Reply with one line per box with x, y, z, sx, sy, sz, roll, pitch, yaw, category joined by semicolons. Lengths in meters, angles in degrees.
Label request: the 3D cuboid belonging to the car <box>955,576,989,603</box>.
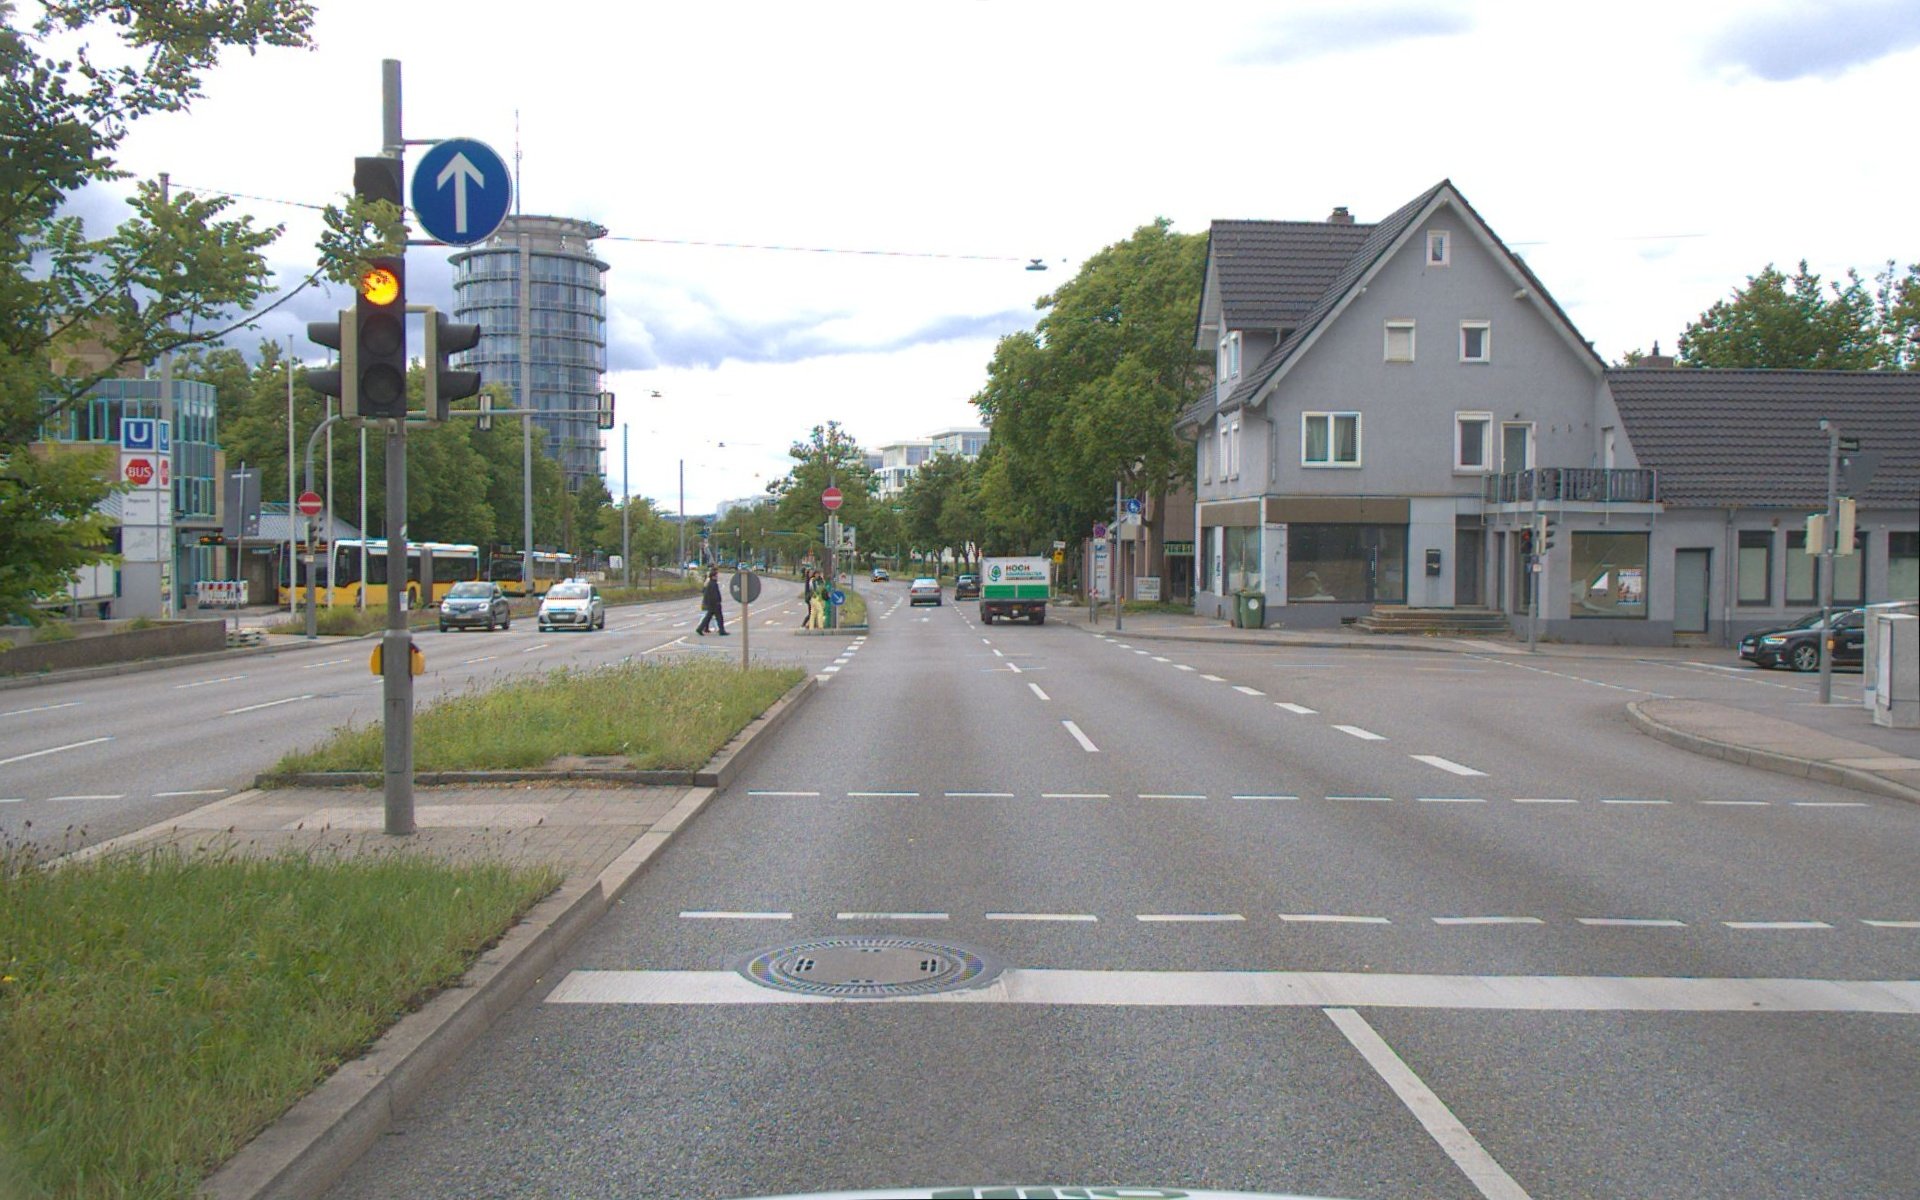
0.704;-0.644;99.011;1.953;1.579;3.999;1;1;-1;car

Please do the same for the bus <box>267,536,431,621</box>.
-26.982;-0.934;73.694;2.772;3.490;10.738;0;0;3;bus

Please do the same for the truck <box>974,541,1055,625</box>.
1.765;-0.647;56.312;2.420;2.656;6.547;1;2;-1;truck

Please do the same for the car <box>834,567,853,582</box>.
-12.523;-2.706;177.736;1.954;1.545;3.997;0;1;-4;car

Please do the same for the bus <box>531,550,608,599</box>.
-29.654;-1.904;126.139;2.772;3.490;10.738;0;0;3;bus

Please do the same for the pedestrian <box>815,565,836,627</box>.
-3.808;-0.104;46.813;0.572;1.746;0.545;0;0;-8;pedestrian

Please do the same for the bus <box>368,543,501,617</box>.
-26.421;-1.013;83.895;2.772;3.490;10.738;0;0;3;bus

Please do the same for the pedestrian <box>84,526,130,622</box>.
-18.420;-0.556;35.726;0.668;2.049;0.645;0;0;-5;pedestrian

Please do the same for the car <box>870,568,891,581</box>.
-9.265;-2.947;191.820;1.957;1.579;3.991;-1;1;-10;car

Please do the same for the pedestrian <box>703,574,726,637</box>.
-6.883;0.145;46.413;0.601;1.746;0.545;0;0;-8;pedestrian

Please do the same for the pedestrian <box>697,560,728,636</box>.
-6.706;-0.054;44.813;0.814;2.049;0.545;0;0;-8;pedestrian

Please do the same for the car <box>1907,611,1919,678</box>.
21.873;0.986;33.799;4.006;1.395;1.799;2;0;-2;car

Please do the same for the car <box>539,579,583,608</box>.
-24.196;-0.413;100.401;1.769;1.691;3.999;0;0;-2;car

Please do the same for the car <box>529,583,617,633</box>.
-12.231;0.239;52.477;1.953;1.512;3.998;0;0;-2;car

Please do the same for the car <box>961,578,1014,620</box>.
1.079;-0.058;65.997;1.953;1.579;3.999;1;1;-1;car

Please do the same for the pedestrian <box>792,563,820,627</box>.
-4.290;-0.145;46.008;0.731;1.746;0.582;0;0;-8;pedestrian

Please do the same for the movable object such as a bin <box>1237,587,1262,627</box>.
8.007;0.185;45.751;0.592;1.078;0.589;1;0;1;movable object such as a bin

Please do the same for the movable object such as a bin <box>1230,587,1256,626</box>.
7.927;0.177;46.387;0.603;1.061;0.589;1;0;1;movable object such as a bin

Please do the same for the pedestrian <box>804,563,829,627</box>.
-3.953;-0.144;45.512;0.641;1.746;0.451;0;0;-8;pedestrian

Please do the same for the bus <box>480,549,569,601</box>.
-30.235;-1.715;115.391;2.772;3.490;10.738;0;0;3;bus

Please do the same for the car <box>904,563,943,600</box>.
-1.876;-0.949;86.098;1.953;1.862;3.999;0;1;-1;car

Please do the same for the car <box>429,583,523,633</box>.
-15.400;0.237;52.819;1.953;1.512;3.998;0;0;-2;car

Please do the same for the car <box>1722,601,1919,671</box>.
19.488;0.799;37.062;4.006;1.395;1.799;2;0;-2;car

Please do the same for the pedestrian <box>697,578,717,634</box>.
-6.988;0.155;45.587;0.533;1.522;0.485;0;0;-10;pedestrian
